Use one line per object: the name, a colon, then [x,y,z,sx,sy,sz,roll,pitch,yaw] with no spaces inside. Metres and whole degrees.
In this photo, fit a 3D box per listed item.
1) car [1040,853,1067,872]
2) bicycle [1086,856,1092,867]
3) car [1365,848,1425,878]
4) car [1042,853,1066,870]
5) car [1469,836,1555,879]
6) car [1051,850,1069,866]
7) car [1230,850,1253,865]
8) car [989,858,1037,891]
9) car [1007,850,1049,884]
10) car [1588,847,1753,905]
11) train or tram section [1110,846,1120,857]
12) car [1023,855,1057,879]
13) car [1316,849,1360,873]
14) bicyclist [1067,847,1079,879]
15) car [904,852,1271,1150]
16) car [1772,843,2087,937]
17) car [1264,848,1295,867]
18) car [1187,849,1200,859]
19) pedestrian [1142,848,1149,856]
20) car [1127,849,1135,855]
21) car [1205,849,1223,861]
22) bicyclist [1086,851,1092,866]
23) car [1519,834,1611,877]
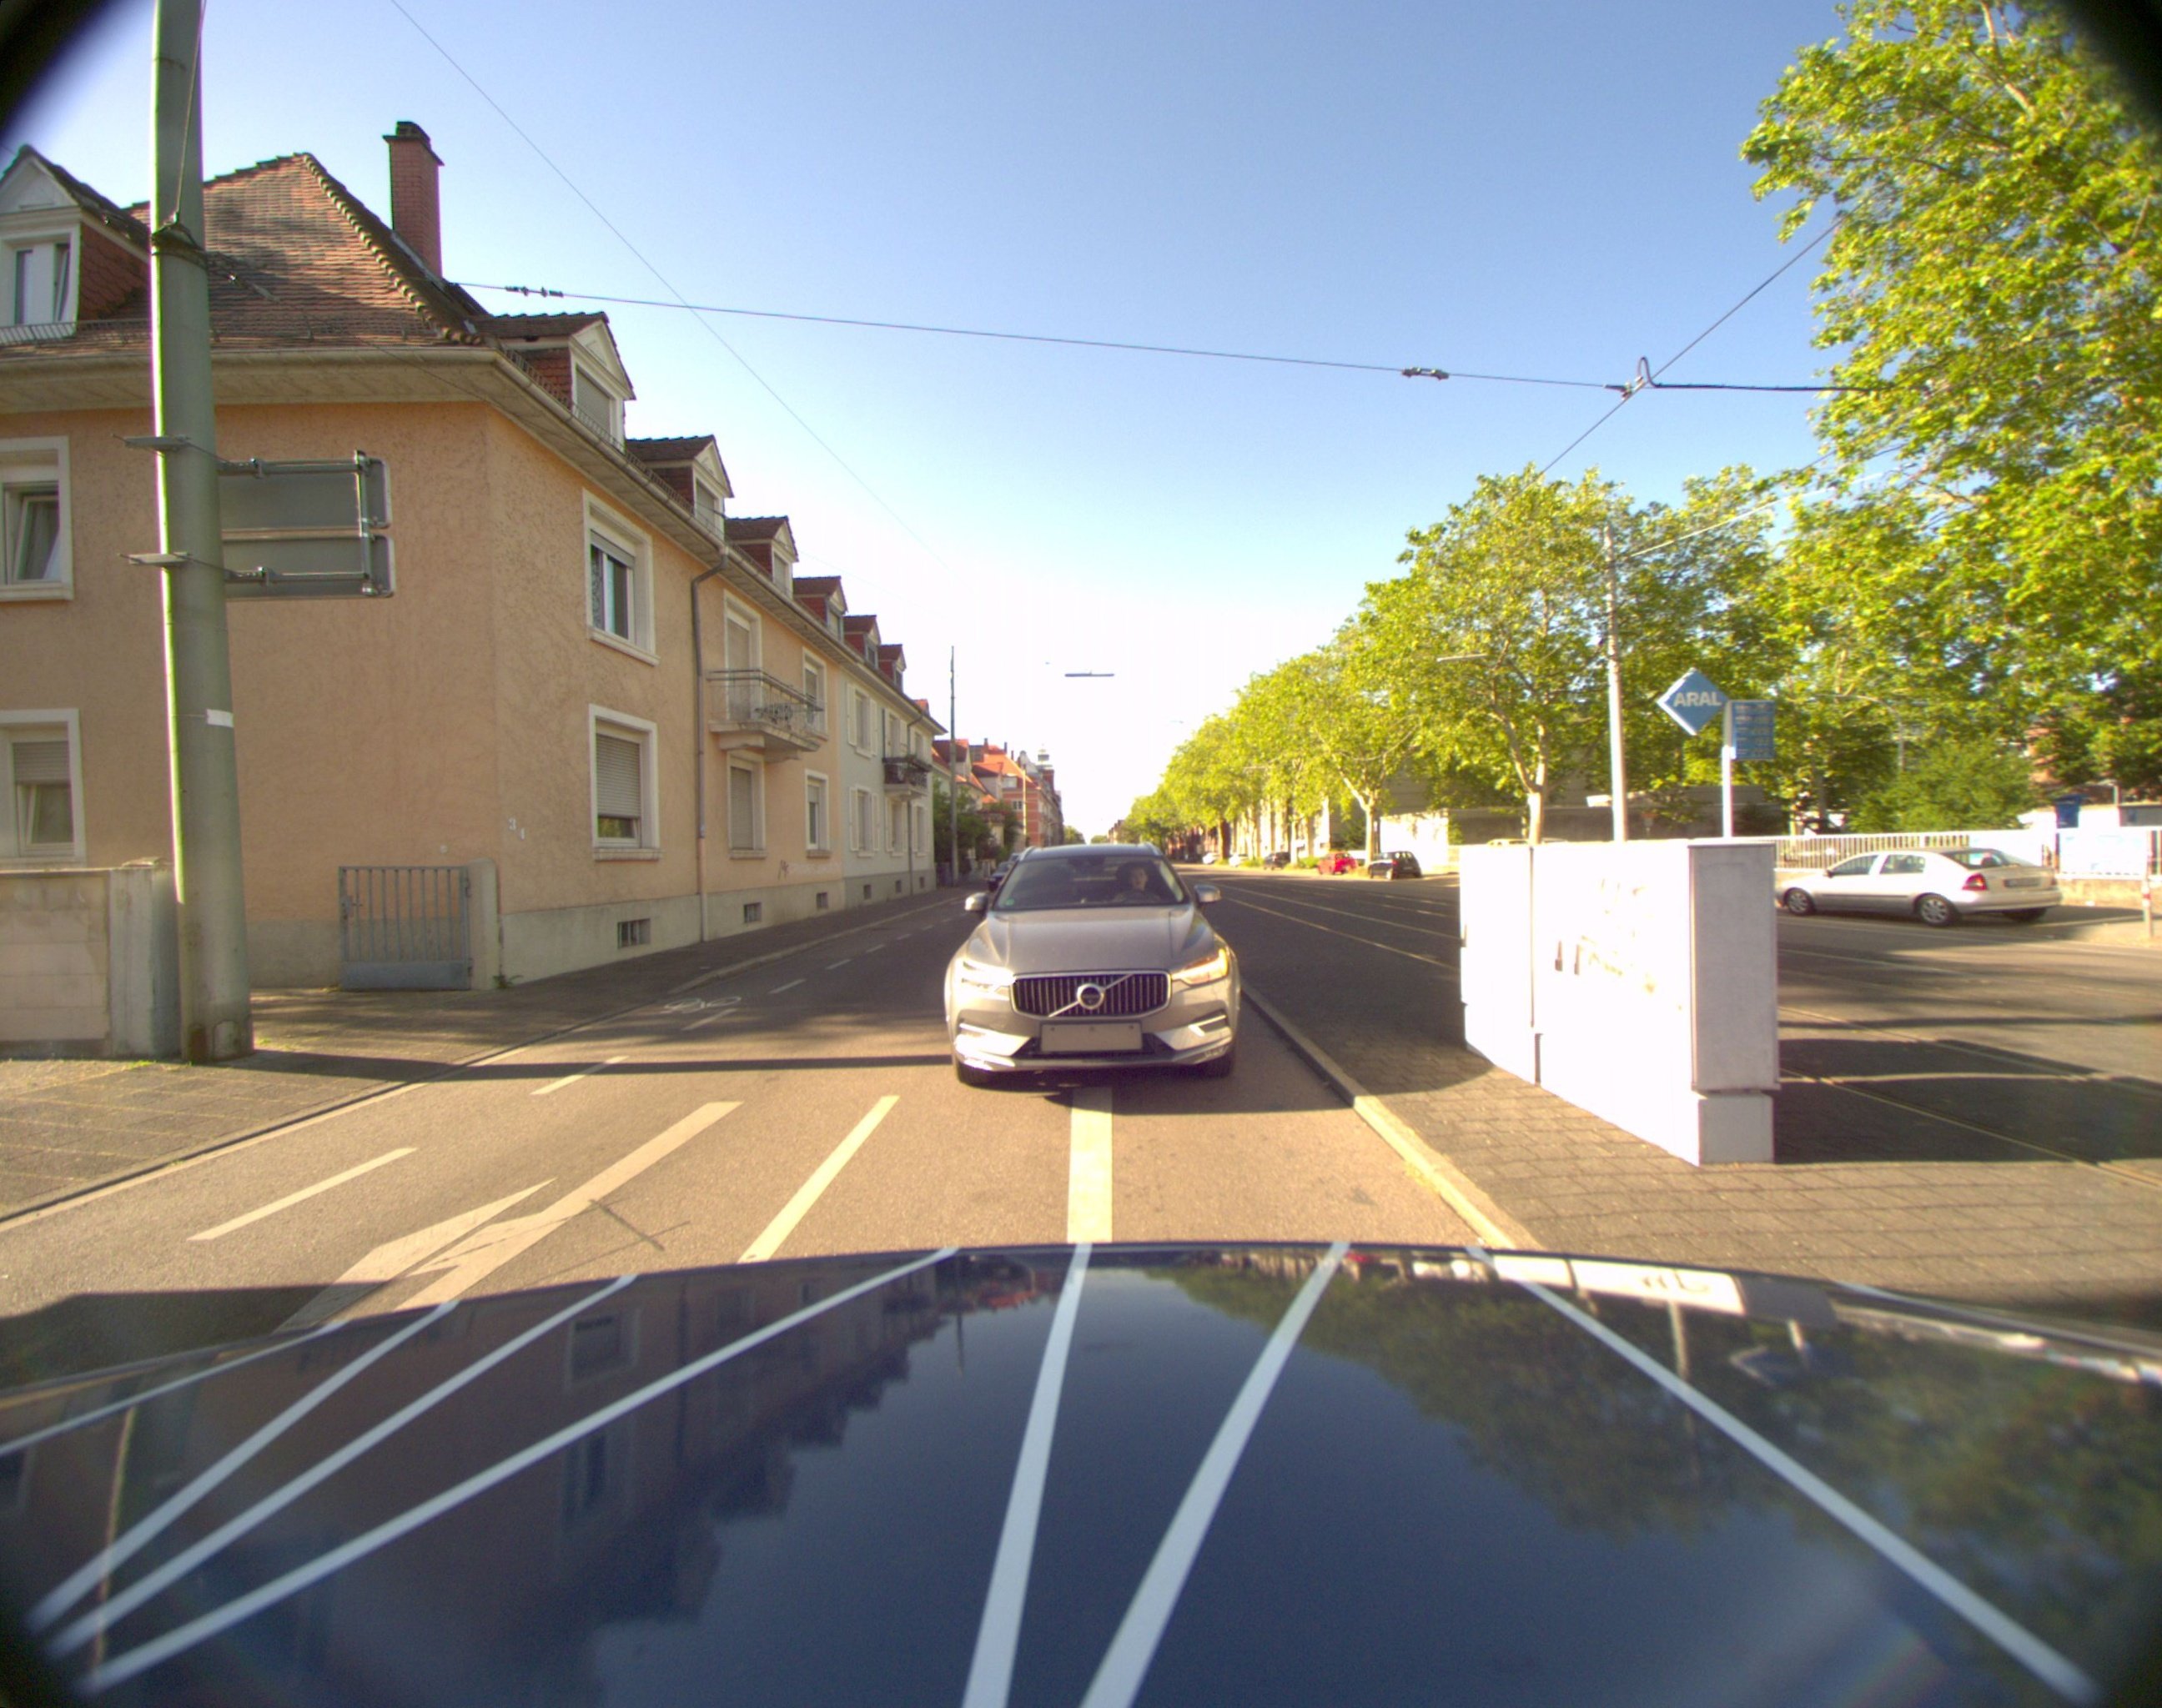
car: [-2.129,0.655,60.053,1.867,1.399,4.078,-1,0,1]
bicycle: [0.883,0.809,82.012,0.550,1.056,1.794,-1,1,-1]
car: [16.895,0.450,41.039,1.758,1.449,3.858,-3,0,3]
car: [-2.350,0.608,66.358,1.867,1.399,4.078,-1,0,1]
car: [21.815,0.161,38.638,1.999,2.002,3.999,-1,0,-1]
car: [-2.322,0.417,85.447,1.867,1.653,4.078,-1,0,1]
car: [17.581,0.342,83.340,1.758,1.475,3.858,-3,0,3]
car: [-3.233,0.955,37.073,1.867,1.399,4.424,-1,0,1]
car: [-2.910,0.692,42.827,1.867,1.778,5.297,-1,0,1]
car: [16.482,0.563,21.511,1.745,1.389,3.858,-4,0,3]
train or tram section: [11.741,-0.721,262.882,3.482,3.695,10.885,-1,0,2]
car: [-2.574,0.804,48.494,1.867,1.399,4.078,-1,0,1]
car: [16.907,0.442,50.181,1.717,1.421,3.858,-3,0,3]
bicyclist: [-0.449,0.465,41.456,0.561,1.721,1.084,-2,1,1]
car: [0.068,0.808,6.545,1.998,1.609,4.697,-1,0,1]
car: [16.242,0.603,14.904,1.847,1.477,3.858,-4,0,2]
car: [17.176,0.282,65.912,1.758,1.536,3.858,-3,0,3]
car: [18.510,0.039,125.290,1.758,1.475,3.858,-3,0,3]
pedestrian: [17.374,-0.504,205.882,1.686,2.002,1.761,-1,1,1]
car: [14.912,-0.495,226.016,1.998,1.685,4.000,-1,0,1]
car: [17.674,0.148,100.933,1.758,1.475,3.858,-3,0,3]
bicyclist: [0.853,0.523,82.078,0.562,1.607,1.016,-2,1,0]
car: [24.163,0.072,38.097,1.999,2.002,3.999,-1,0,-1]
